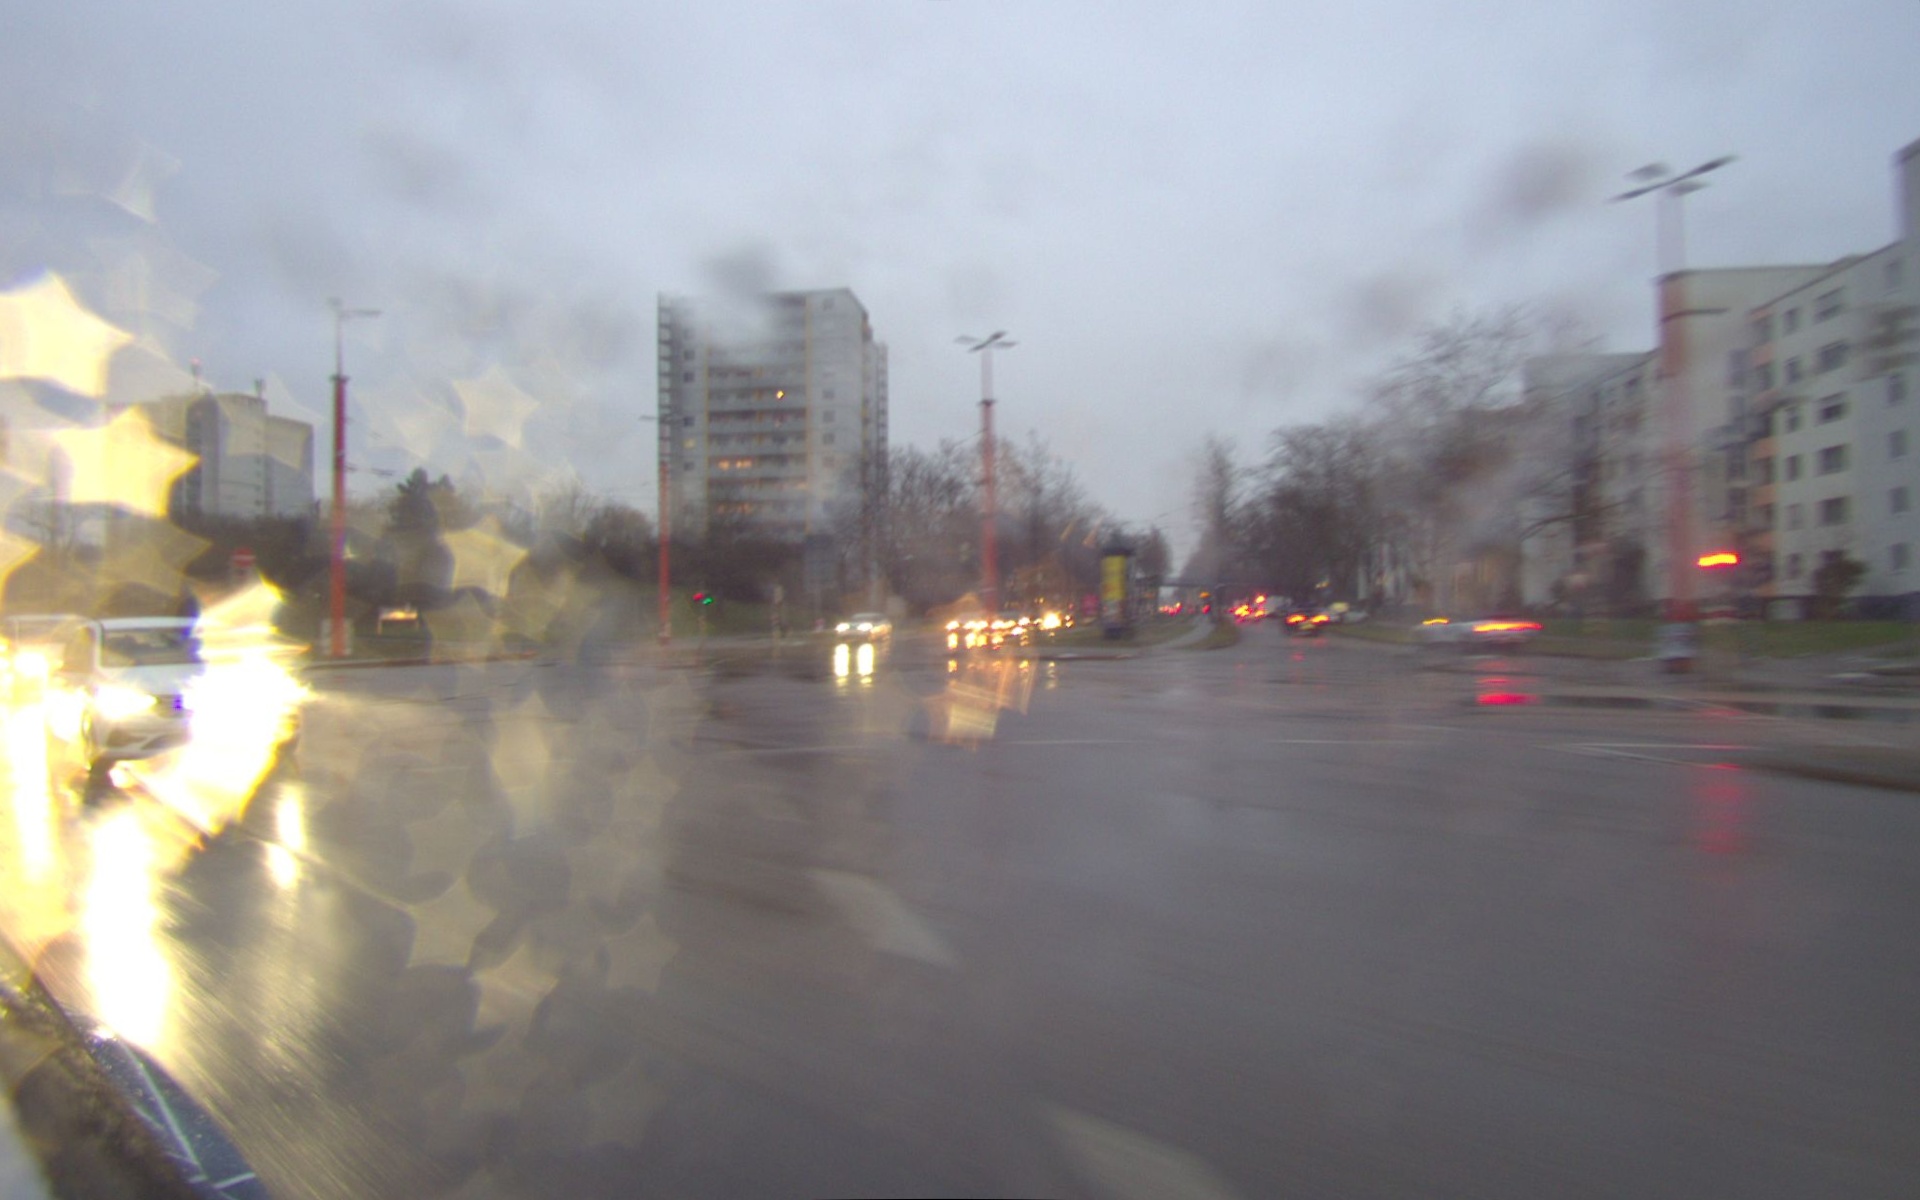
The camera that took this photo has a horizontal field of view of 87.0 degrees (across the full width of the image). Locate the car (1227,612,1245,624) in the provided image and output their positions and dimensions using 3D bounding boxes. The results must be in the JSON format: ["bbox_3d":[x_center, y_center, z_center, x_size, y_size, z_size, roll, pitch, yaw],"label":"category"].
[{"bbox_3d":[33.924,2.242,124.457,1.756,1.397,3.988,-1,-1,9],"label":"car"}]

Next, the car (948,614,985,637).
[{"bbox_3d":[0.462,1.774,71.519,1.696,1.556,3.981,0,-1,14],"label":"car"}]

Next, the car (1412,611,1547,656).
[{"bbox_3d":[19.215,1.205,37.721,1.967,1.541,4.609,0,-1,-12],"label":"car"}]

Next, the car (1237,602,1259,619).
[{"bbox_3d":[28.651,1.039,100.628,1.519,1.652,3.990,-1,-1,8],"label":"car"}]

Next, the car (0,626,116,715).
[{"bbox_3d":[-18.593,1.332,20.475,4.188,1.551,1.672,-1,0,41],"label":"car"}]

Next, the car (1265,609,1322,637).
[{"bbox_3d":[19.063,1.312,58.057,1.974,1.541,4.479,0,-1,4],"label":"car"}]

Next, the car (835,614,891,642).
[{"bbox_3d":[-5.568,1.617,58.675,1.834,1.556,4.419,0,-1,14],"label":"car"}]

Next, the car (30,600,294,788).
[{"bbox_3d":[-8.779,0.855,11.001,4.148,1.660,1.695,-1,-1,44],"label":"car"}]
